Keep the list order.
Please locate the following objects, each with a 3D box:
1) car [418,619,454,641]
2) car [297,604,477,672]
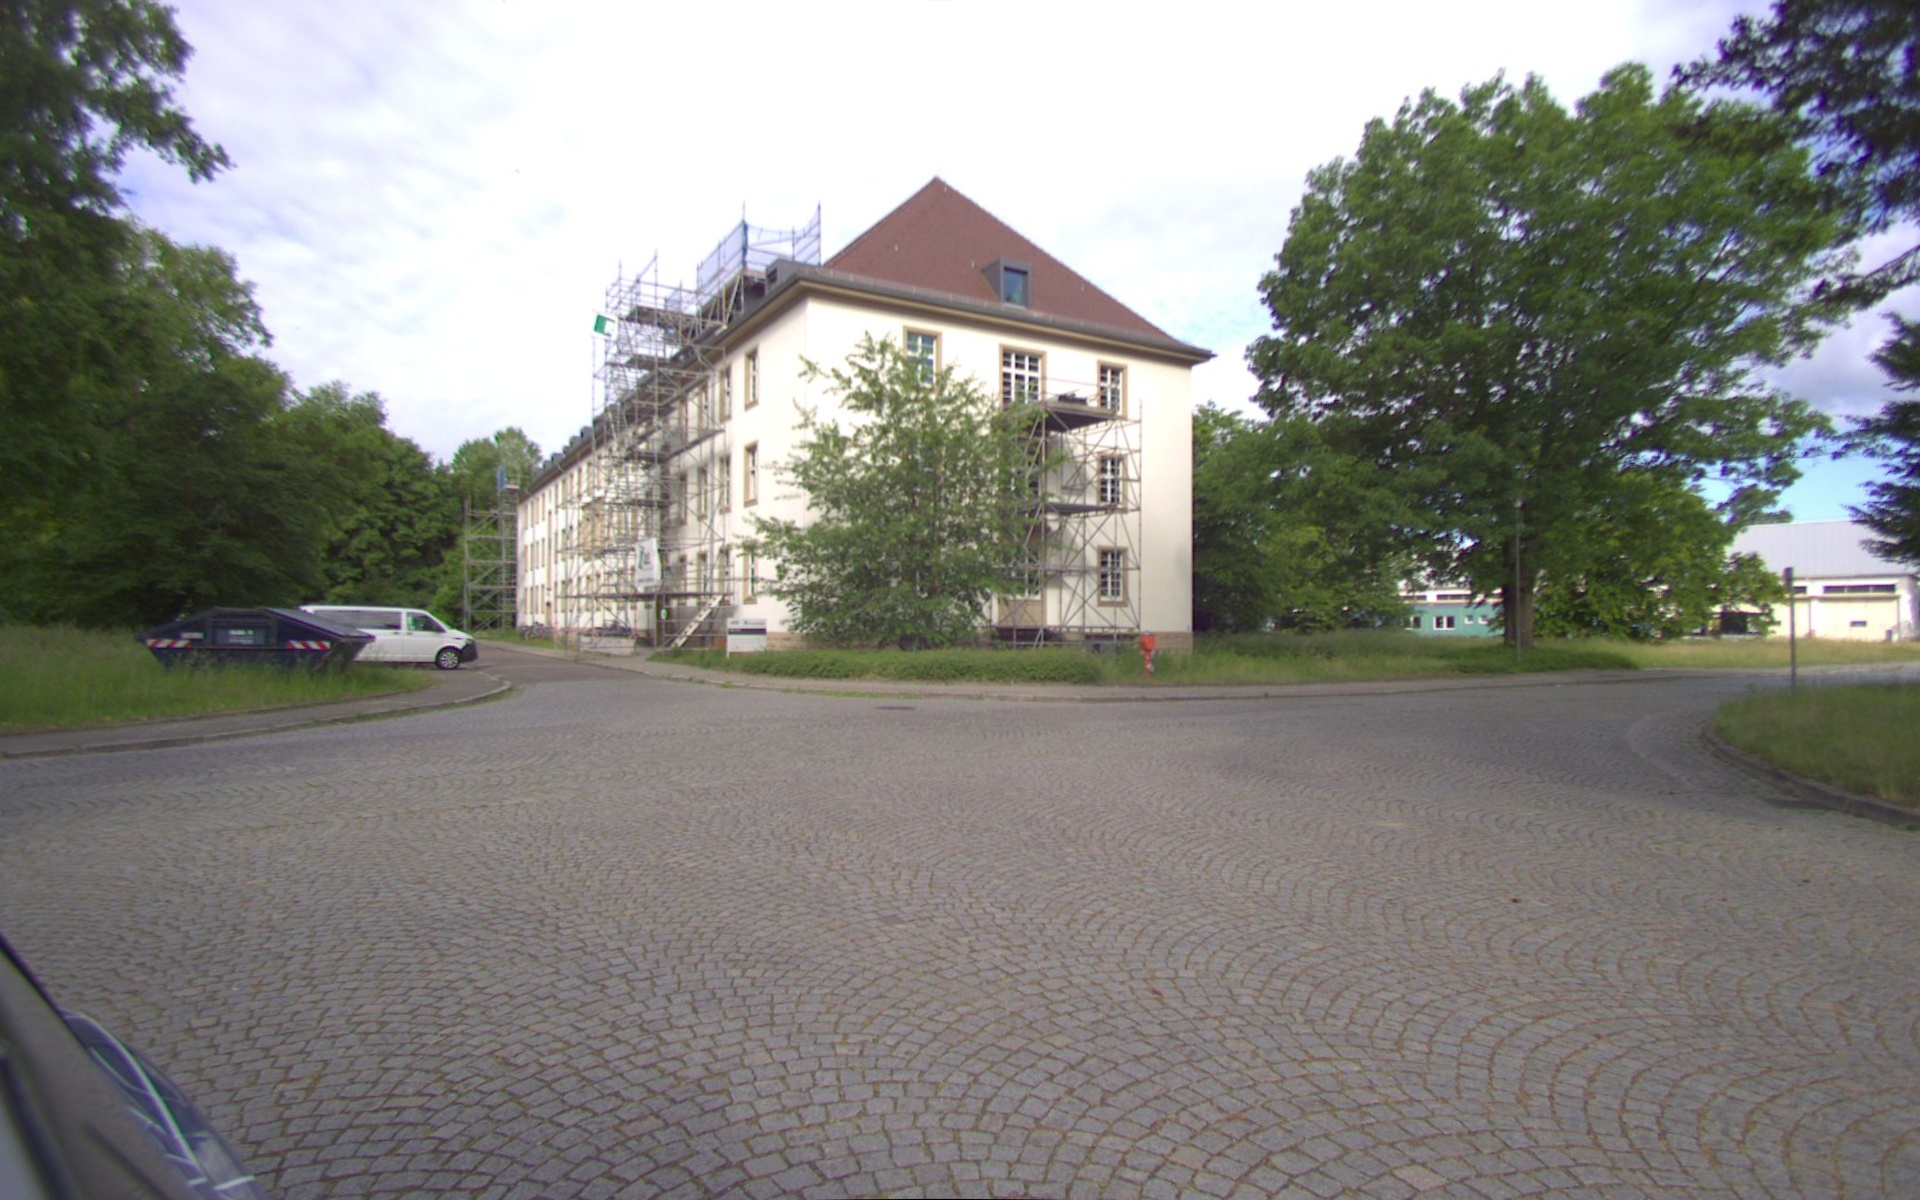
[{"bbox_3d":[-47.592,2.696,91.859,1.997,1.941,4.005,1,-2,-42],"label":"car"},{"bbox_3d":[-18.150,1.179,32.158,4.836,2.010,2.005,1,-2,-34],"label":"car"}]
